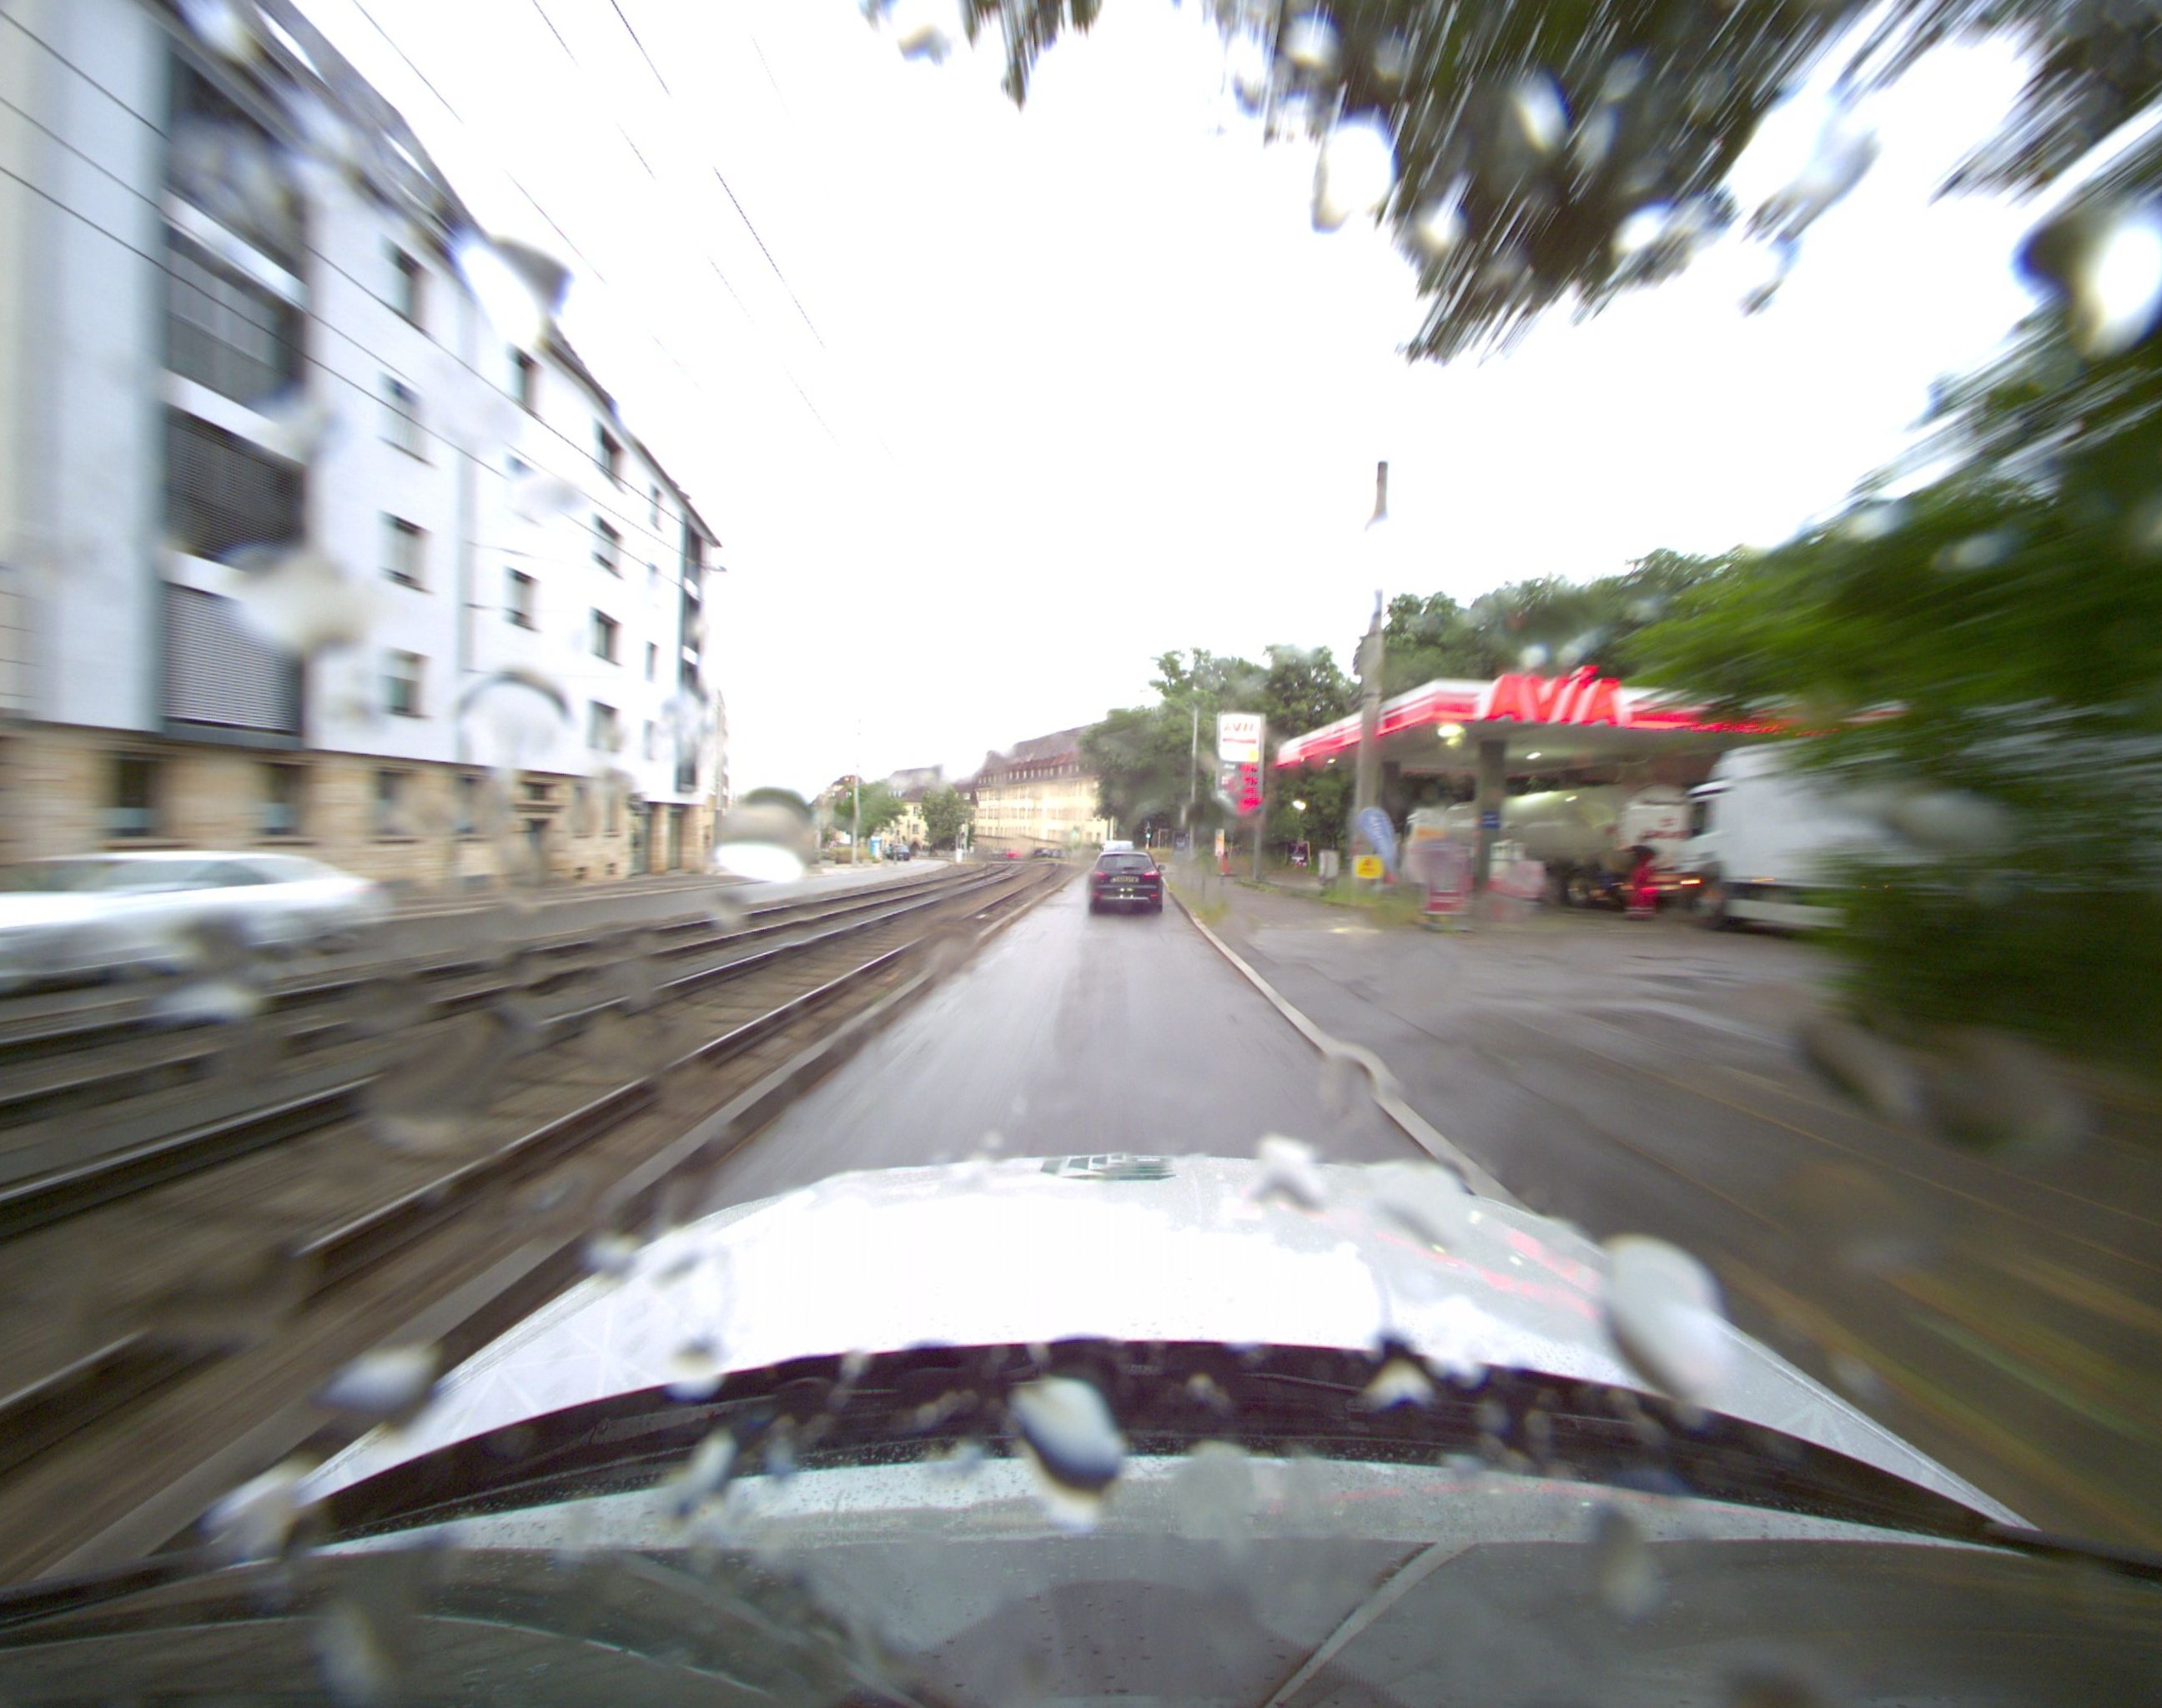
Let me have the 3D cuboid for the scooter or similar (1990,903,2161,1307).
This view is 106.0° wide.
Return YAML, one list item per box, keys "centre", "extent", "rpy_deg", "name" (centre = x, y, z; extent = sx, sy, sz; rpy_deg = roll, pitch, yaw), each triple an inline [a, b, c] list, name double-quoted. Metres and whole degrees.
- centre: [3.454, 0.772, 2.411]
  extent: [0.369, 1.200, 1.246]
  rpy_deg: [1, -1, 13]
  name: "scooter or similar"

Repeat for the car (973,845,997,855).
- centre: [-15.583, -0.588, 132.256]
  extent: [2.010, 1.542, 3.953]
  rpy_deg: [1, 0, -41]
  name: "car"

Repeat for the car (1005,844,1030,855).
- centre: [-9.716, -0.735, 124.255]
  extent: [2.009, 1.542, 3.956]
  rpy_deg: [1, 0, -36]
  name: "car"

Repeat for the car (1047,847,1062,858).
- centre: [-3.662, -0.184, 111.263]
  extent: [1.656, 1.476, 3.633]
  rpy_deg: [1, 0, -8]
  name: "car"

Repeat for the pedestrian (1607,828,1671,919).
- centre: [12.712, 0.420, 18.589]
  extent: [1.164, 2.013, 0.875]
  rpy_deg: [0, 0, 31]
  name: "pedestrian"

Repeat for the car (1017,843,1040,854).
- centre: [-7.691, -0.807, 119.789]
  extent: [1.592, 1.542, 3.958]
  rpy_deg: [1, 0, -34]
  name: "car"

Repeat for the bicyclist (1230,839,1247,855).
- centre: [11.555, -0.532, 59.746]
  extent: [0.741, 1.179, 1.066]
  rpy_deg: [0, 0, -33]
  name: "bicyclist"

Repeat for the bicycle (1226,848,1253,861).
- centre: [11.624, 0.032, 59.836]
  extent: [0.741, 0.868, 1.977]
  rpy_deg: [0, 1, -33]
  name: "bicycle"

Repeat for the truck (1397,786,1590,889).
- centre: [15.530, -0.605, 31.454]
  extent: [3.891, 3.516, 6.977]
  rpy_deg: [0, 0, -1]
  name: "truck"

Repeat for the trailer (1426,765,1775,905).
- centre: [15.497, -0.555, 26.288]
  extent: [3.884, 3.506, 11.787]
  rpy_deg: [0, 1, 0]
  name: "trailer"

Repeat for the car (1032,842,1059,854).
- centre: [-5.092, -0.855, 114.950]
  extent: [2.008, 1.542, 3.958]
  rpy_deg: [1, 0, -34]
  name: "car"

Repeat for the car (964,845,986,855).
- centre: [-17.772, -0.680, 136.427]
  extent: [2.007, 1.542, 3.959]
  rpy_deg: [1, 0, -33]
  name: "car"

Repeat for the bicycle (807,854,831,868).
- centre: [-21.856, 0.592, 67.989]
  extent: [1.808, 1.061, 0.570]
  rpy_deg: [1, 0, -3]
  name: "bicycle"

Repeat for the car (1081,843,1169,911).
- centre: [1.137, 0.520, 20.579]
  extent: [1.925, 1.453, 4.322]
  rpy_deg: [2, 0, 4]
  name: "car"

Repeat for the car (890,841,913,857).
- centre: [-18.175, -0.518, 82.435]
  extent: [1.993, 1.542, 3.987]
  rpy_deg: [1, 0, -9]
  name: "car"

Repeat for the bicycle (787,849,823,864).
- centre: [-18.576, 0.169, 54.823]
  extent: [2.115, 0.943, 0.806]
  rpy_deg: [-1, 1, -38]
  name: "bicycle"

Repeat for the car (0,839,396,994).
- centre: [-11.275, 0.588, 9.847]
  extent: [1.793, 1.482, 4.840]
  rpy_deg: [1, 0, 1]
  name: "car"

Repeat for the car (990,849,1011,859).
- centre: [-12.813, -0.075, 128.902]
  extent: [2.004, 1.542, 3.965]
  rpy_deg: [0, 1, -27]
  name: "car"

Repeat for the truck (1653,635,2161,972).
- centre: [14.140, -0.595, 12.758]
  extent: [3.909, 3.677, 10.391]
  rpy_deg: [0, 1, 6]
  name: "truck"

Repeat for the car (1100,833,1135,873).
- centre: [1.950, -0.046, 44.478]
  extent: [1.735, 2.013, 3.903]
  rpy_deg: [1, 0, 0]
  name: "car"

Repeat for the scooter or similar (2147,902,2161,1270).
- centre: [3.559, 0.759, 2.065]
  extent: [0.370, 1.234, 1.378]
  rpy_deg: [0, -2, 22]
  name: "scooter or similar"

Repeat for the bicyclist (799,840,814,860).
- centre: [-18.512, -0.267, 54.883]
  extent: [0.777, 1.313, 0.782]
  rpy_deg: [0, 0, -37]
  name: "bicyclist"
